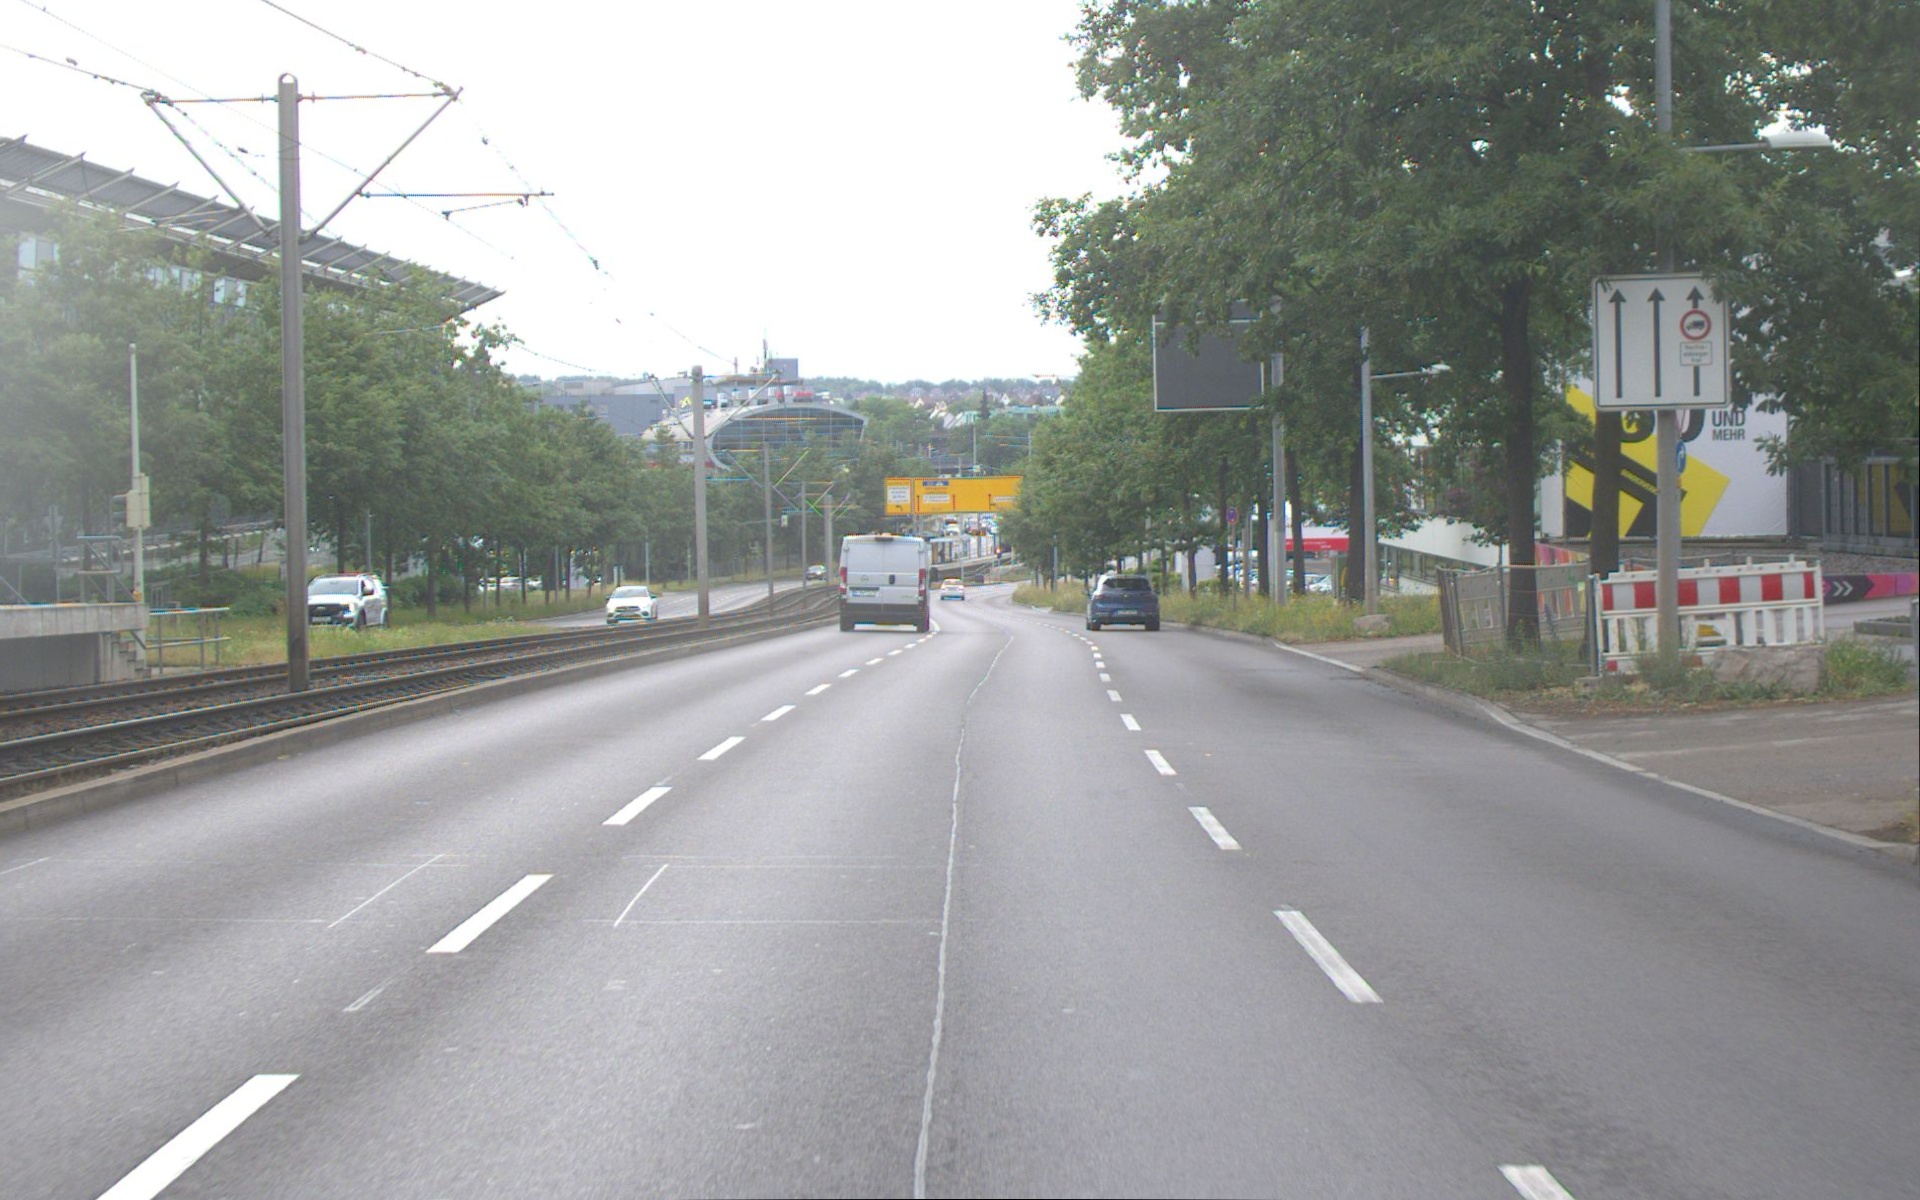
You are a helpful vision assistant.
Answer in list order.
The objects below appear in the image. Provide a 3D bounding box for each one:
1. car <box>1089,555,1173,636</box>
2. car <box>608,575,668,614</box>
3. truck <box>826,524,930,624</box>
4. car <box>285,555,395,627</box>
[{"bbox_3d":[4.373,-0.113,88.259,1.993,2.007,3.934,1,0,1],"label":"car"},{"bbox_3d":[-12.761,-0.227,136.541,1.837,1.439,4.428,-2,1,1],"label":"car"},{"bbox_3d":[-1.943,-0.611,81.791,2.360,2.254,5.306,1,0,-1],"label":"truck"},{"bbox_3d":[-16.994,-0.279,94.498,1.993,1.840,5.002,-2,1,1],"label":"car"}]
